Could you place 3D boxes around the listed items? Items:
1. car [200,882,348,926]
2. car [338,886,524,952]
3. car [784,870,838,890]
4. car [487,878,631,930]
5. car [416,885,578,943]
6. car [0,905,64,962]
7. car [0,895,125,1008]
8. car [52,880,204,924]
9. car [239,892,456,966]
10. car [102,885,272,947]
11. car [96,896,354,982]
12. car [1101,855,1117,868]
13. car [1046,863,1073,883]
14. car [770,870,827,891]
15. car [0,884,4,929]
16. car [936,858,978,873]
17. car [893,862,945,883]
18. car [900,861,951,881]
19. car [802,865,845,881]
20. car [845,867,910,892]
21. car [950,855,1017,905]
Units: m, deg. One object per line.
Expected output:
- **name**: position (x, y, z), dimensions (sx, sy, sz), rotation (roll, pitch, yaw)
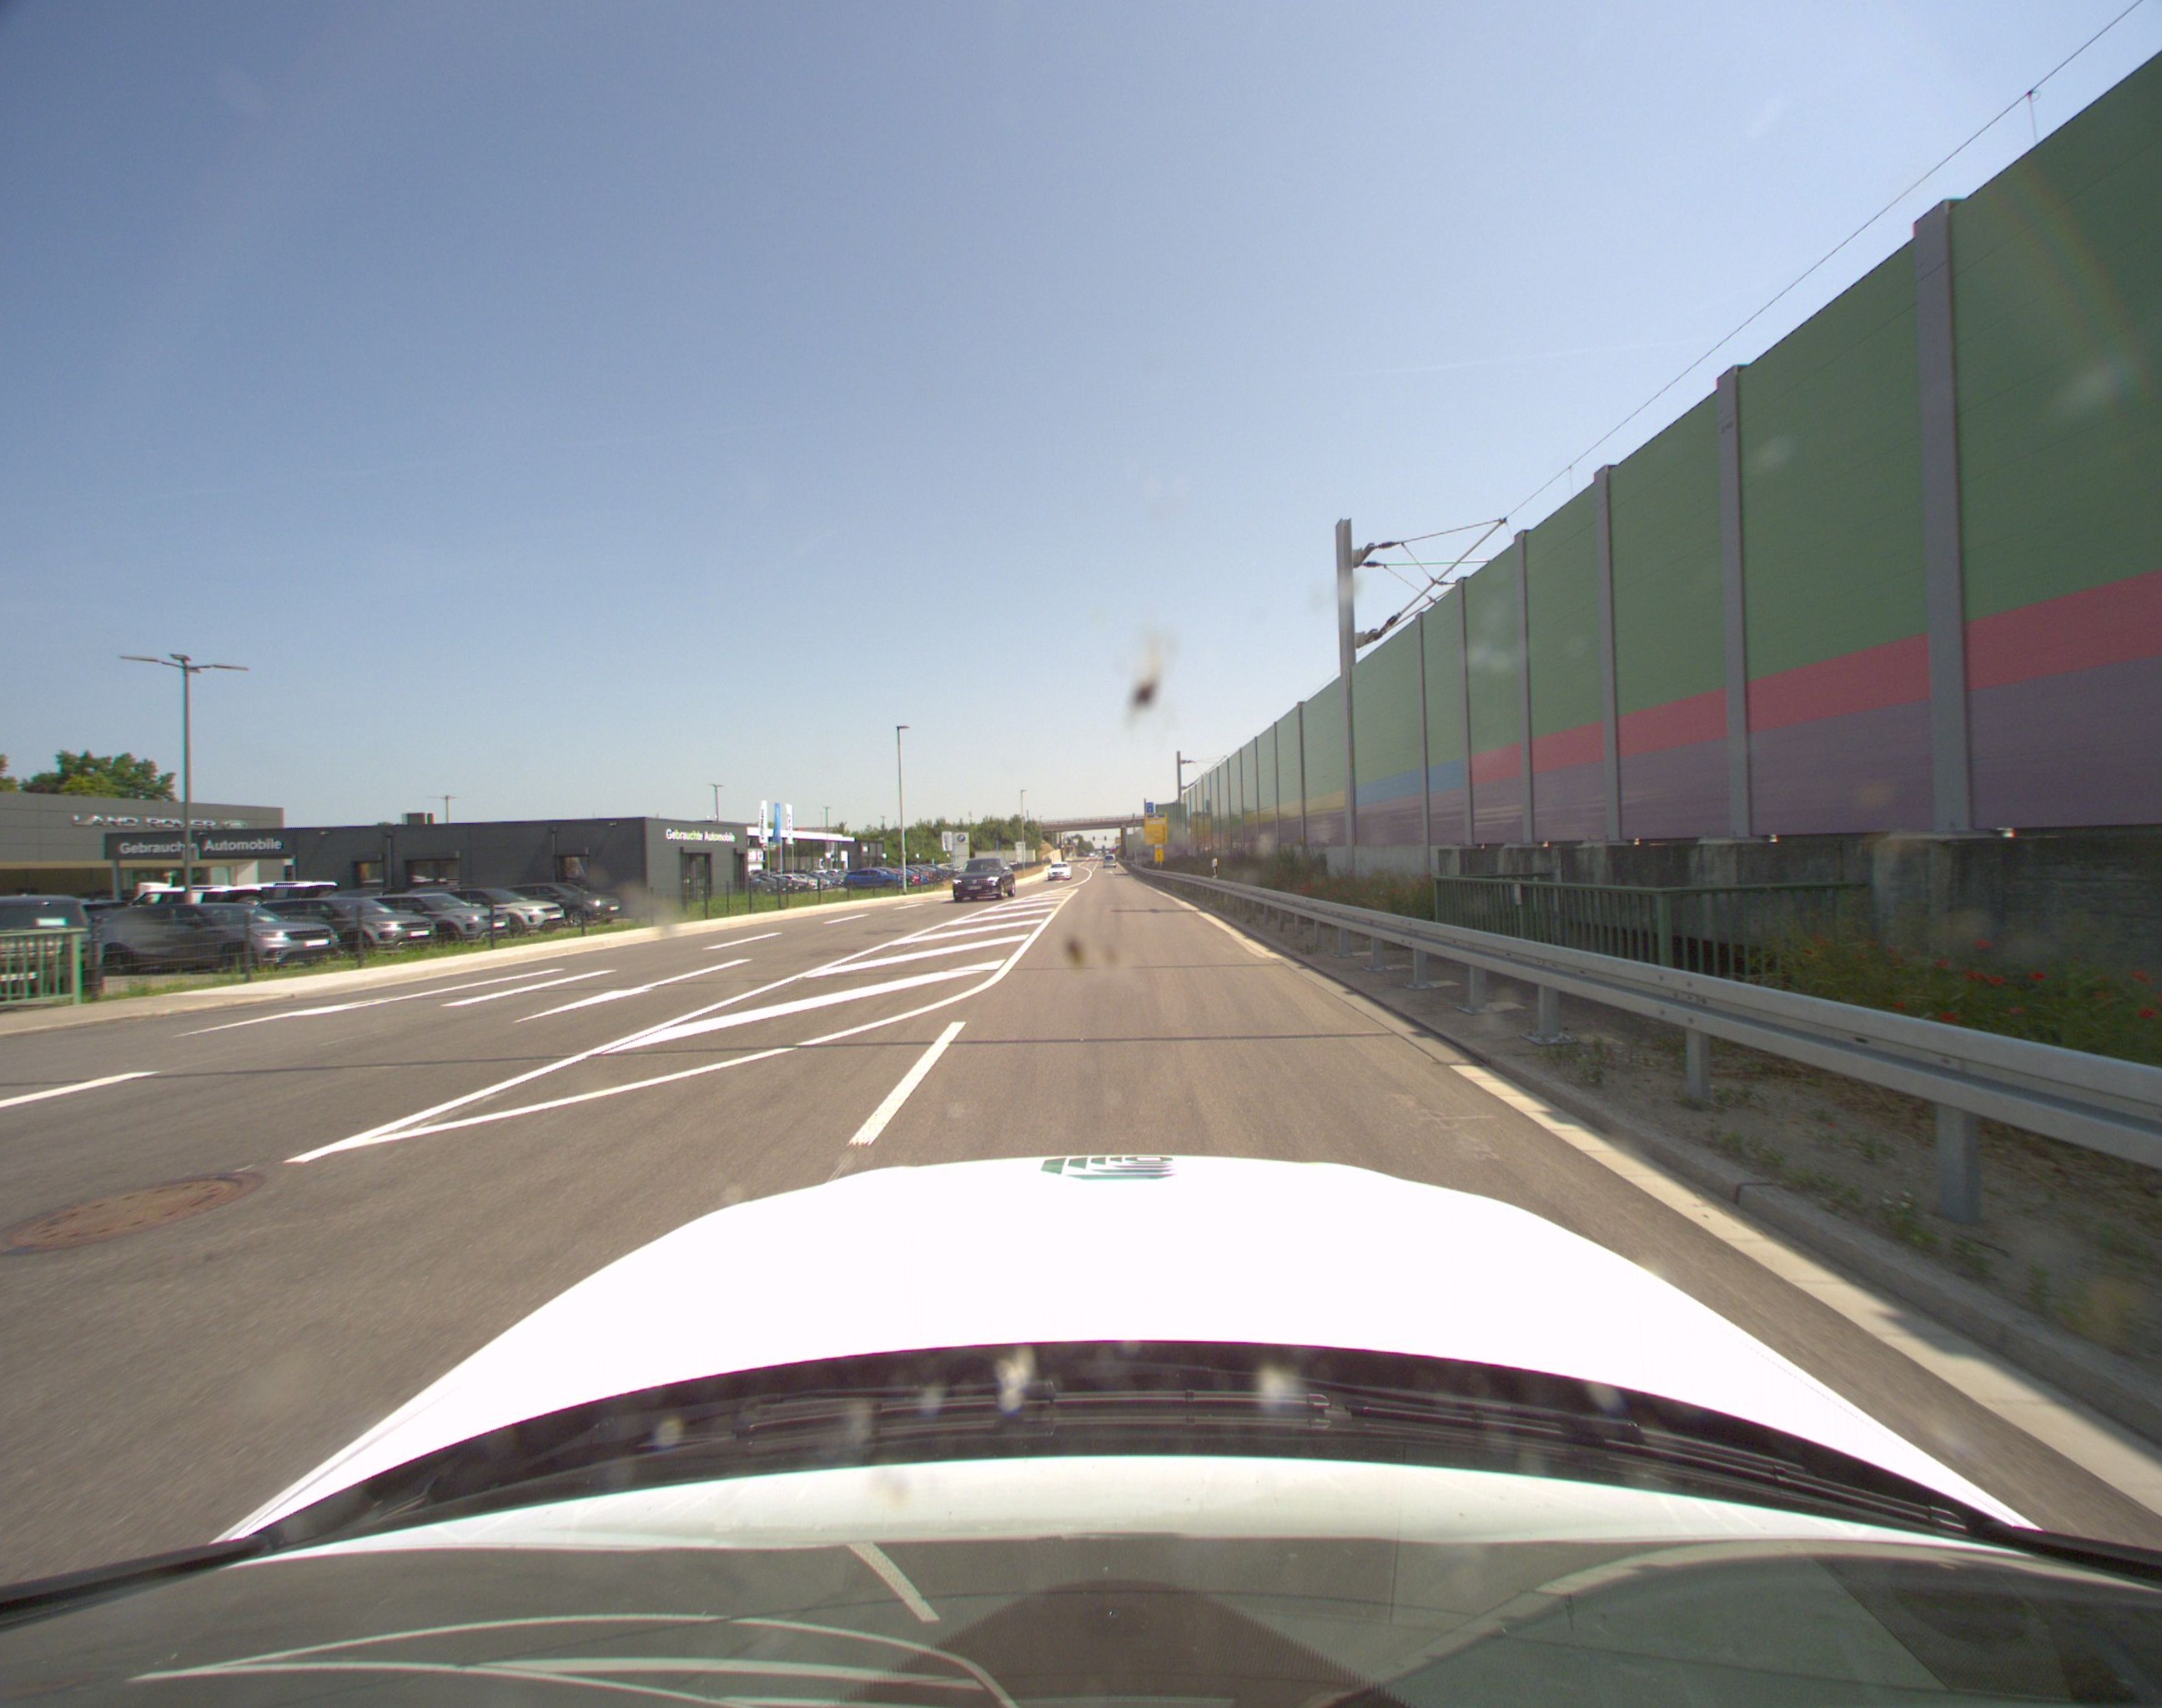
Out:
- **car**: position (-30.665, 1.867, 31.024), dimensions (3.825, 1.421, 1.686), rotation (-2, 1, -1)
- **car**: position (-19.734, 1.942, 24.866), dimensions (3.974, 1.631, 1.977), rotation (-3, 1, -1)
- **car**: position (-23.142, 2.233, 69.974), dimensions (3.974, 1.494, 1.815), rotation (-3, 1, -1)
- **car**: position (-19.547, 1.856, 30.639), dimensions (4.136, 1.631, 1.822), rotation (-3, 1, -1)
- **car**: position (-19.665, 1.993, 27.537), dimensions (3.972, 1.631, 1.969), rotation (-3, 1, 2)
- **car**: position (-30.815, 2.242, 22.298), dimensions (3.672, 1.445, 1.686), rotation (-2, 1, -1)
- **car**: position (-20.267, 1.781, 15.793), dimensions (4.619, 1.865, 2.079), rotation (-2, -1, 39)
- **car**: position (-36.227, 1.824, 31.036), dimensions (3.672, 1.421, 1.686), rotation (-2, 1, -1)
- **car**: position (-19.820, 1.990, 22.151), dimensions (3.974, 1.631, 1.977), rotation (-3, 1, -1)
- **car**: position (-30.641, 2.108, 27.999), dimensions (3.825, 1.828, 1.686), rotation (-2, 1, -1)
- **car**: position (-20.156, 1.972, 19.321), dimensions (3.974, 1.631, 1.886), rotation (-3, 1, -1)
- **car**: position (3.896, 1.030, 112.250), dimensions (1.985, 1.757, 4.004), rotation (-2, 0, 3)
- **car**: position (-1.698, 1.538, 66.403), dimensions (1.773, 1.416, 4.053), rotation (-2, 0, 3)
- **car**: position (-23.209, 2.181, 66.918), dimensions (3.974, 1.494, 1.815), rotation (-3, 1, -1)
- **car**: position (-36.400, 1.747, 25.246), dimensions (3.672, 1.421, 1.686), rotation (-2, 1, -1)
- **car**: position (-13.677, 1.246, 89.991), dimensions (4.148, 1.466, 1.816), rotation (-3, 1, 1)
- **car**: position (-13.751, 1.540, 69.421), dimensions (3.974, 1.534, 1.815), rotation (-3, 1, -1)
- **car**: position (-13.683, 1.502, 71.854), dimensions (3.974, 1.534, 1.971), rotation (-3, 1, -1)
- **car**: position (-29.266, 2.157, 92.594), dimensions (4.148, 1.466, 1.816), rotation (-3, 1, 1)
- **car**: position (-14.165, 1.735, 56.852), dimensions (3.974, 1.480, 1.911), rotation (-3, 1, -1)
- **car**: position (-3.696, 0.925, 31.506), dimensions (1.870, 1.673, 4.293), rotation (-2, 1, 2)
